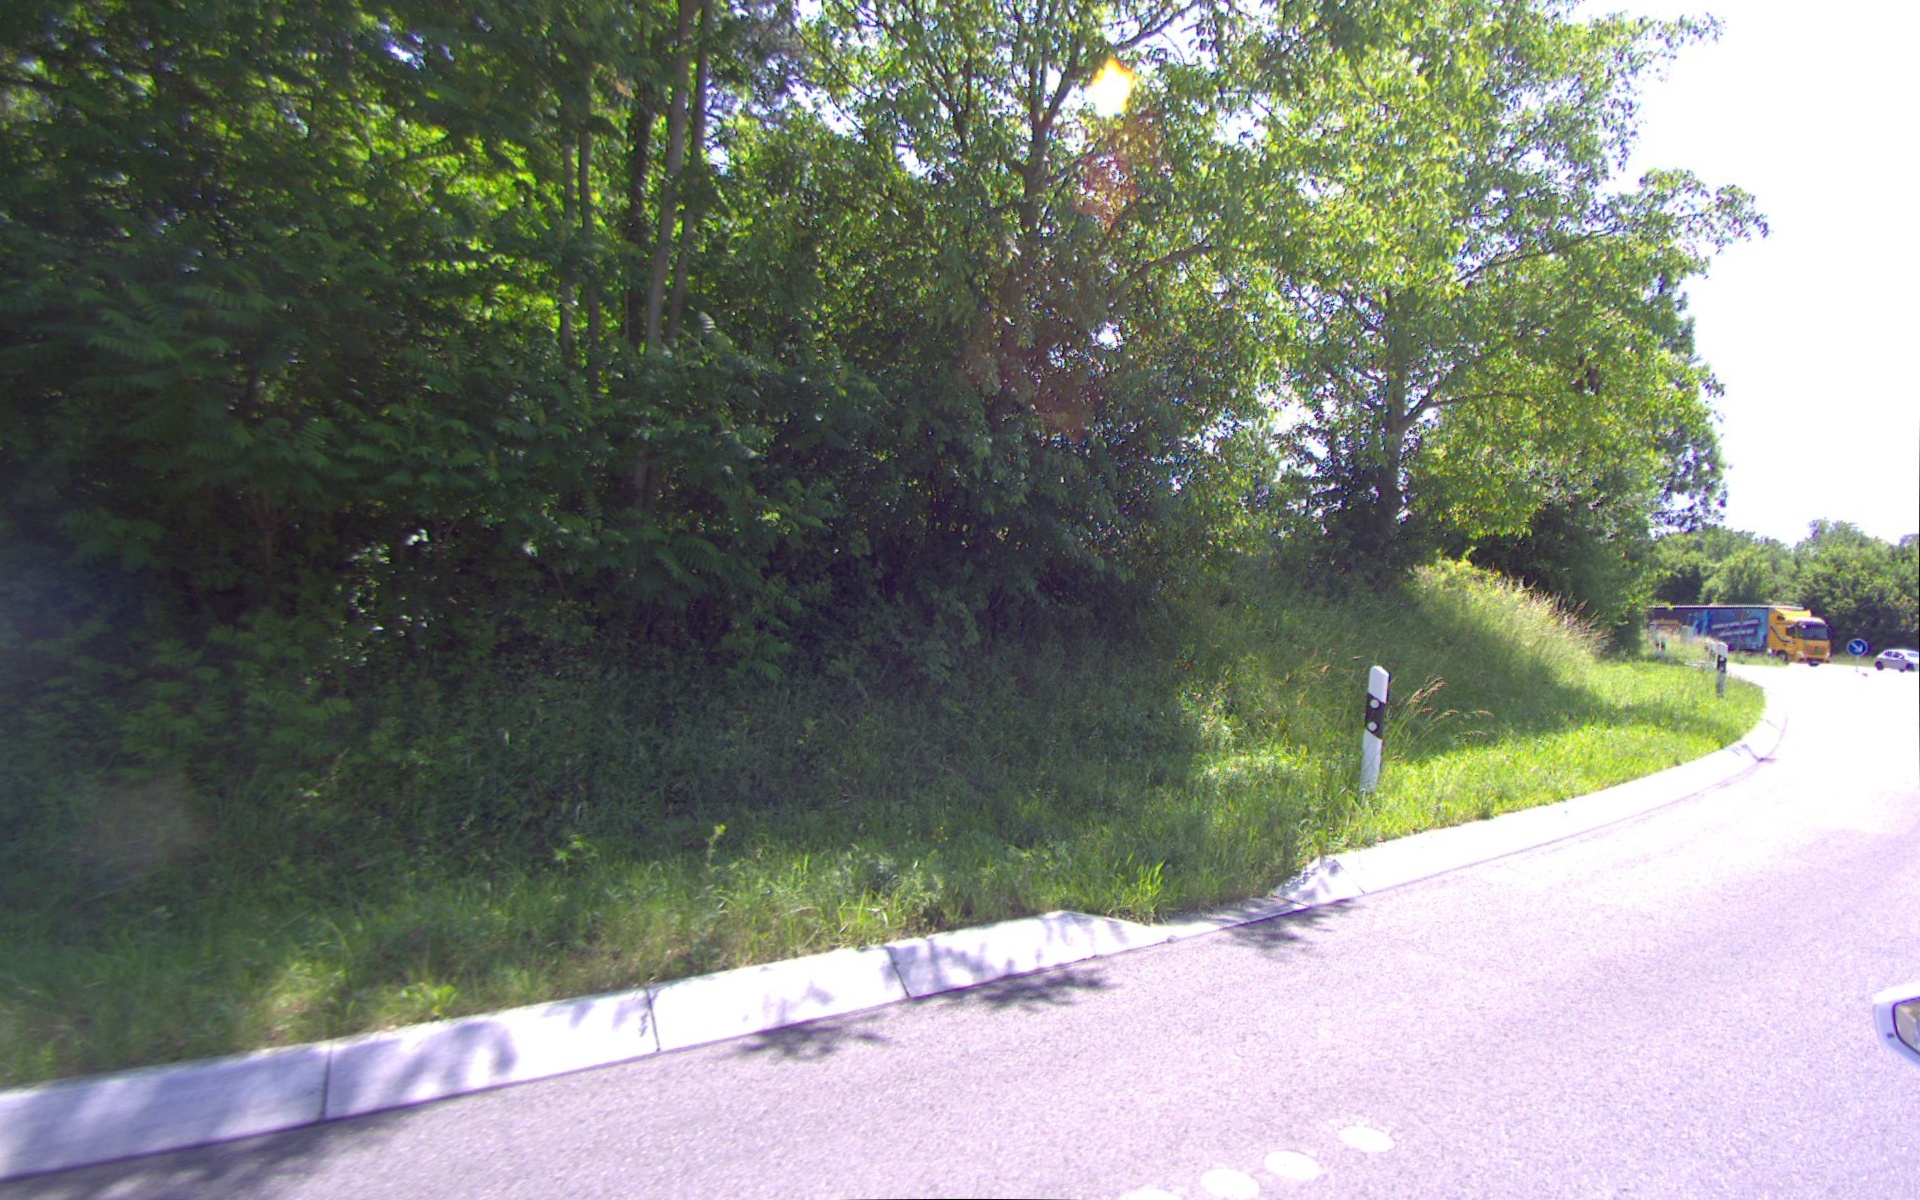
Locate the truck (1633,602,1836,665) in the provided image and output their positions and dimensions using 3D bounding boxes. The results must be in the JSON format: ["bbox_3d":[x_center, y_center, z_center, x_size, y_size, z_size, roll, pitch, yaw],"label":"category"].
[{"bbox_3d":[59.321,2.332,78.029,2.795,4.186,16.813,3,0,1],"label":"truck"}]

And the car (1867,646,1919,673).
[{"bbox_3d":[62.465,3.936,66.534,1.626,1.596,3.917,1,-1,8],"label":"car"}]
